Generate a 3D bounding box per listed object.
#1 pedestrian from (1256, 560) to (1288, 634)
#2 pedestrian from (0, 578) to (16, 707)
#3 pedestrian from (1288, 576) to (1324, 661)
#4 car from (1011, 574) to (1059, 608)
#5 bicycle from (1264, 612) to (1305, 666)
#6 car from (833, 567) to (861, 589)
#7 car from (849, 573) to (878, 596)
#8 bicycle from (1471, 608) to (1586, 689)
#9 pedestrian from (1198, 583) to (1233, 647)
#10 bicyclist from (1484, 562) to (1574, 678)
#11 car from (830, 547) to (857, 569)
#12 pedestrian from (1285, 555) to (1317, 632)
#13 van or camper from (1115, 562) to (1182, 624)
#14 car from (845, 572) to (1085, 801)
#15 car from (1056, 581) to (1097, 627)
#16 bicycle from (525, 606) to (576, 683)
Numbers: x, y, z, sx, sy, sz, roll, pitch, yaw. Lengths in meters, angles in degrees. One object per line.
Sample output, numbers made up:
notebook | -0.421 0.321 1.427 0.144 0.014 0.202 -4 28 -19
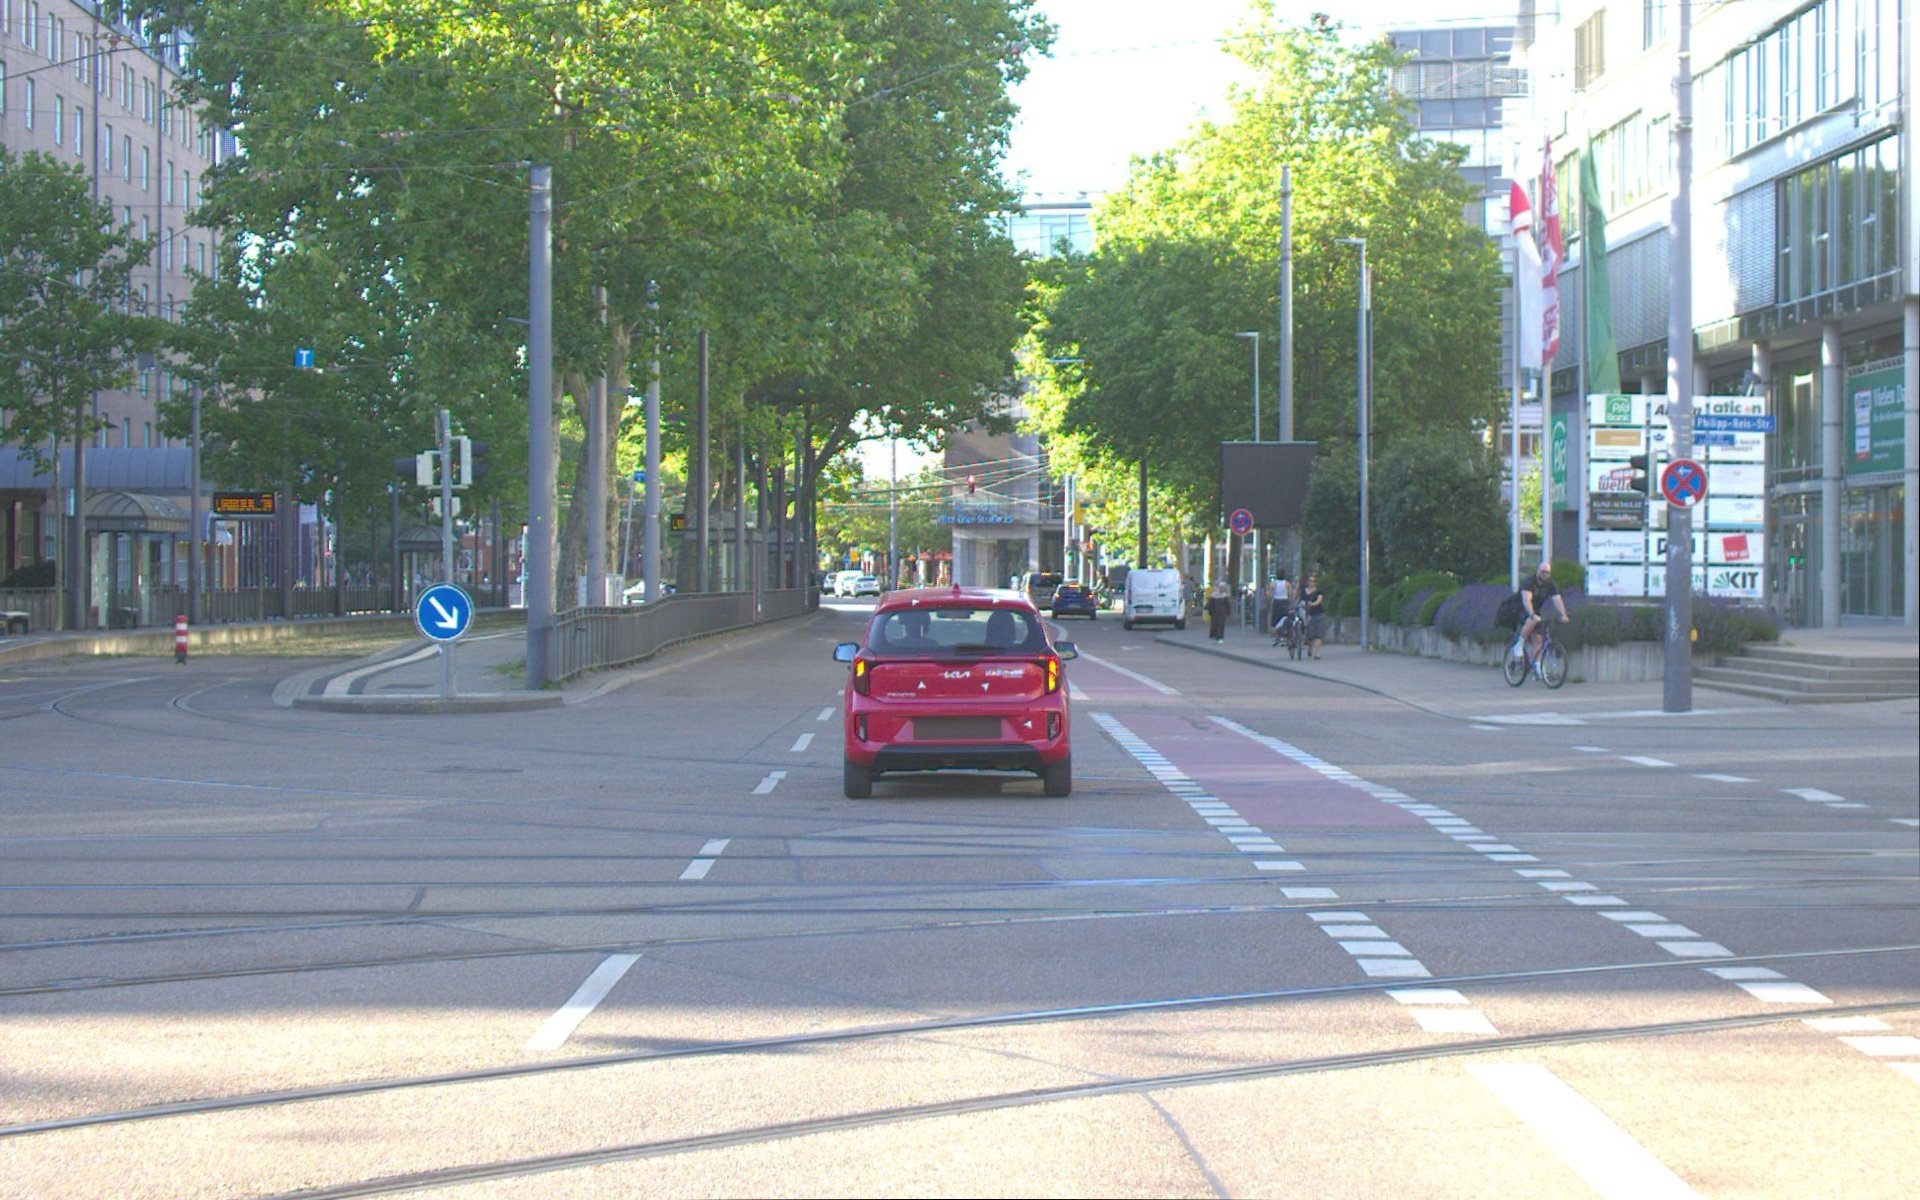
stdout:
pedestrian | 7.346 -0.079 80.954 0.564 1.696 0.907 -3 0 -3
pedestrian | -11.972 0.503 41.288 1.046 1.539 0.694 0 0 4
pedestrian | 6.835 0.361 67.918 0.646 1.674 0.651 0 0 0
car | 3.420 -0.414 157.520 1.777 1.529 3.513 1 1 -5
bicycle | 6.396 0.761 67.834 0.520 0.971 2.201 -3 1 -1
car | -8.090 -1.547 245.777 1.777 1.529 3.412 1 1 -5
car | -6.724 -1.090 239.189 1.777 1.529 3.412 1 1 -5
bicycle | 8.047 0.683 48.750 0.696 1.095 1.751 -4 1 -24
pedestrian | 6.389 0.374 85.970 0.641 1.574 0.723 -4 0 -9
bicyclist | 8.056 0.272 48.674 0.721 1.597 1.089 -2 1 -24
car | -8.554 -3.068 251.778 1.777 1.583 3.412 1 1 -5
pedestrian | 8.019 -0.160 80.941 0.540 1.790 0.907 -3 0 -3
van or camper | 6.248 -0.235 114.147 1.993 1.982 4.745 1 0 1
car | 0.025 0.576 25.148 1.613 1.529 3.412 1 1 0
car | 4.689 0.155 139.165 1.635 1.794 3.330 0 1 2
bicycle | -5.462 0.583 45.893 0.395 0.945 1.351 0 3 5
